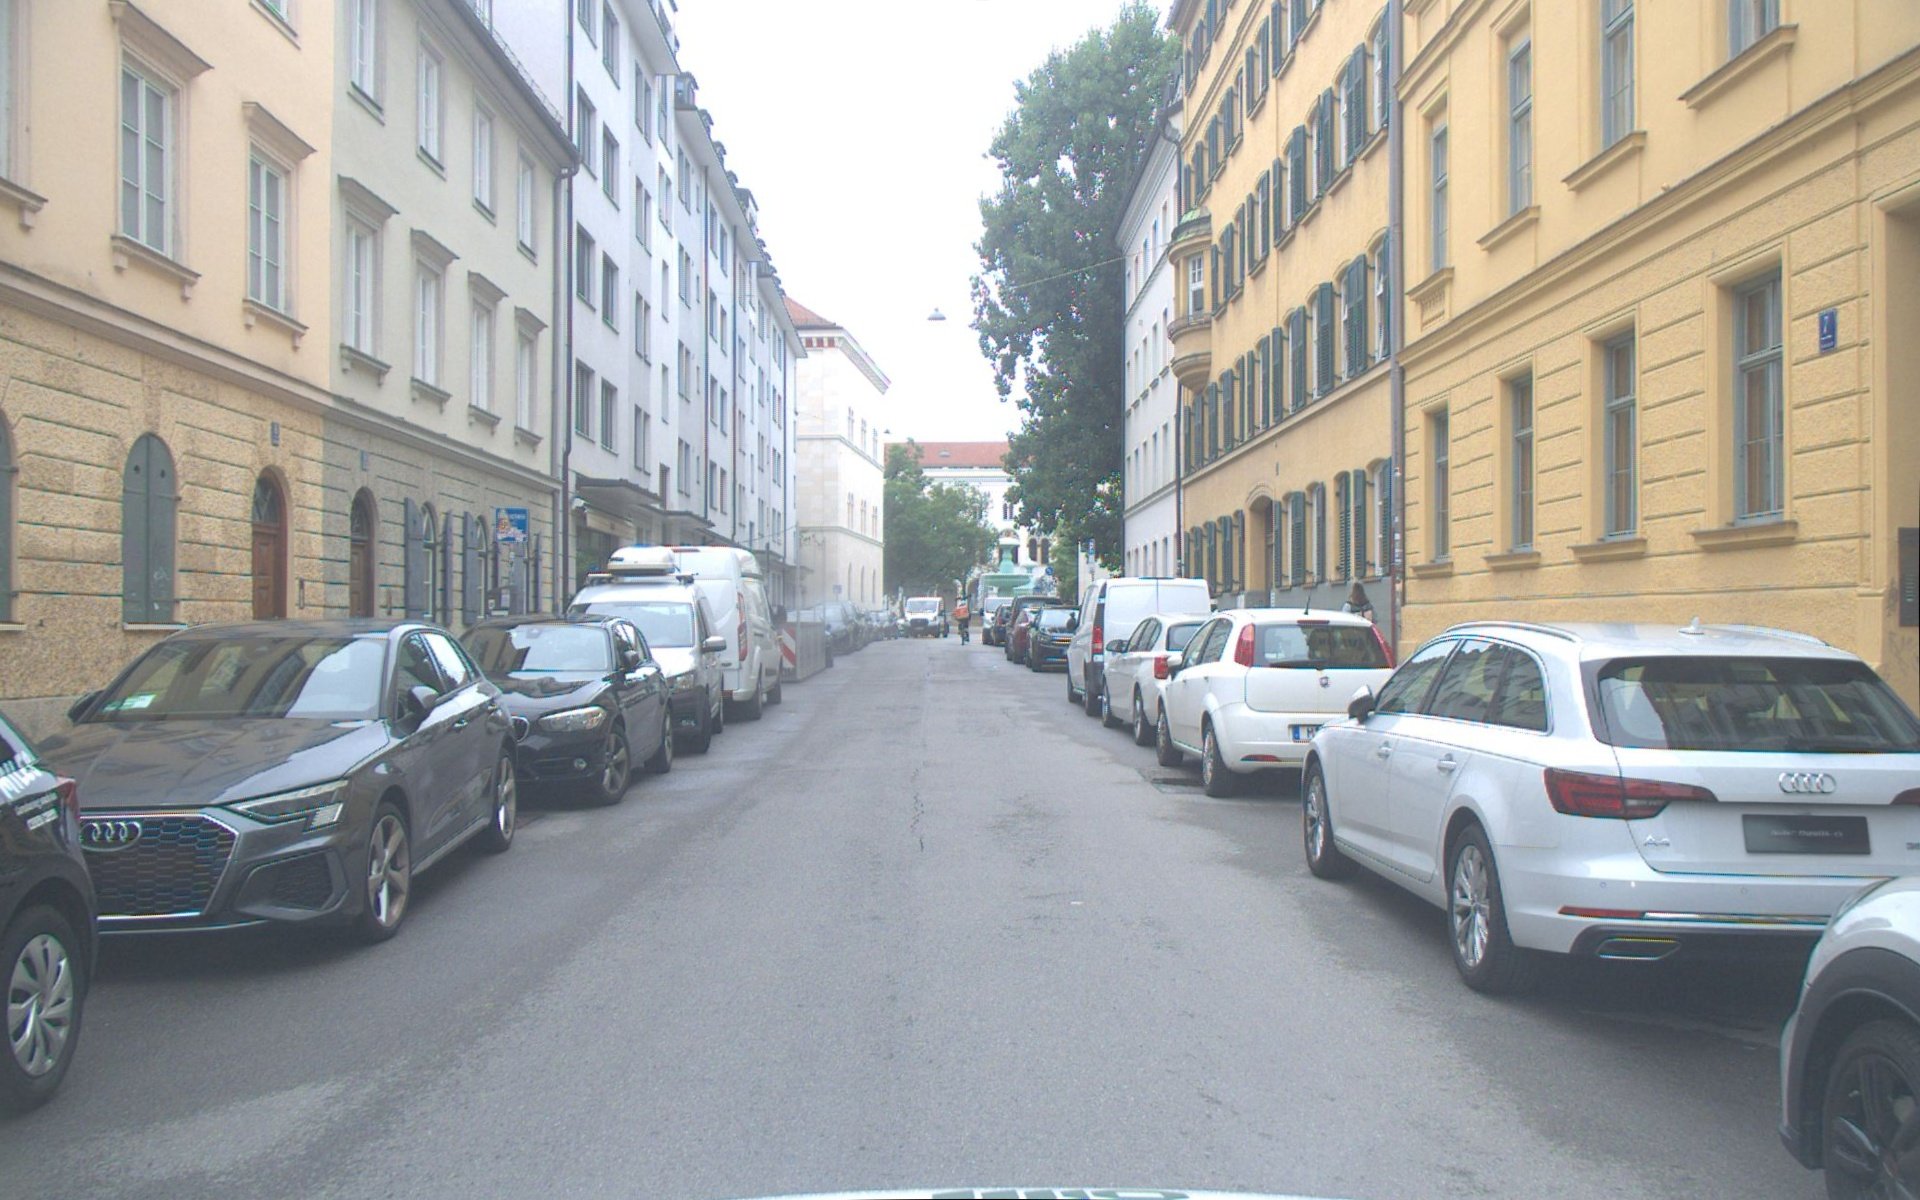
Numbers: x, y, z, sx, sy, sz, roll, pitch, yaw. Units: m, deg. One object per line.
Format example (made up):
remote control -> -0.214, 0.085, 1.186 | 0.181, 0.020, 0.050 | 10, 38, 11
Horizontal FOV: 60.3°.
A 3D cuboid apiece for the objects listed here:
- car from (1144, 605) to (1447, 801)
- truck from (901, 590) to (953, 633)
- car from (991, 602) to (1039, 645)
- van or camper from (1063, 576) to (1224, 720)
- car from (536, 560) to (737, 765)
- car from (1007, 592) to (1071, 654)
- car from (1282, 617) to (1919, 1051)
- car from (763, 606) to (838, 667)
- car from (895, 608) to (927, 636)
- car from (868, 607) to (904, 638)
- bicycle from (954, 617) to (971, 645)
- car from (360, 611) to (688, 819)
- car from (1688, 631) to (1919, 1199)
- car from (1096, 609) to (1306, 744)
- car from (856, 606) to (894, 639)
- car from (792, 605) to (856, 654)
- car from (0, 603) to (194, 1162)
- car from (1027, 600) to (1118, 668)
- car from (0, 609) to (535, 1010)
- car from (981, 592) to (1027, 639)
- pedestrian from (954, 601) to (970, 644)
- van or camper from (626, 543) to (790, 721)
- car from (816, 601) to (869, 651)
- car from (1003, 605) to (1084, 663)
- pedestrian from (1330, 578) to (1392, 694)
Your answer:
car -> 2.771, 0.794, 14.573 | 1.674, 1.480, 4.094 | 0, 0, -3
truck -> -1.783, 0.674, 92.887 | 2.076, 2.287, 6.189 | -1, -1, 7
car -> 2.139, 0.906, 65.178 | 1.775, 1.642, 4.155 | 0, -1, 0
van or camper -> 2.595, 0.649, 24.505 | 1.796, 1.904, 5.078 | 0, 0, 0
car -> -3.535, 0.636, 18.802 | 1.720, 2.030, 4.621 | 0, 0, -5
car -> 2.426, 0.719, 51.656 | 1.775, 1.829, 4.246 | 1, -1, 0
car -> 2.870, 0.808, 7.947 | 1.673, 1.433, 4.814 | 0, 0, 0
car -> -4.151, 0.910, 42.500 | 1.729, 1.435, 4.148 | -1, 0, -8
car -> -2.964, 1.318, 100.508 | 1.671, 1.609, 3.863 | -1, 0, 2
car -> -4.101, 1.235, 91.912 | 1.671, 1.609, 3.863 | -1, 0, 2
bicycle -> 0.102, 1.252, 67.364 | 0.661, 1.114, 1.760 | 0, -2, 0
car -> -3.357, 0.812, 13.535 | 1.719, 1.433, 4.101 | 0, 0, -2
car -> 2.933, 0.788, 2.473 | 1.674, 1.429, 4.205 | 0, 0, -3
car -> 2.701, 0.817, 19.444 | 1.674, 1.417, 4.204 | 0, 0, -3
car -> -4.382, 1.144, 85.760 | 1.671, 1.637, 3.863 | -1, 0, 1
car -> -4.291, 0.921, 52.547 | 1.781, 1.470, 3.817 | -1, 0, -2
car -> -3.423, 0.761, 3.624 | 1.720, 1.522, 4.197 | 0, 0, -3
car -> 2.614, 0.784, 39.134 | 1.775, 1.490, 4.245 | 1, -1, -1
car -> -3.445, 0.811, 8.366 | 1.780, 1.467, 4.128 | -1, 0, -4
car -> 1.872, 0.662, 71.345 | 1.814, 1.953, 4.768 | 0, -1, 0
pedestrian -> 0.093, 0.928, 67.320 | 0.629, 1.744, 0.842 | 0, -2, 0
van or camper -> -3.549, 0.434, 24.188 | 1.719, 2.321, 5.271 | 0, 0, -2
car -> -4.092, 0.899, 58.127 | 1.672, 1.637, 3.861 | -1, 0, -2
car -> 2.195, 0.882, 44.440 | 1.775, 1.449, 4.244 | 1, -1, -2
pedestrian -> 5.746, 0.518, 23.725 | 0.647, 1.599, 0.642 | -3, -2, -1
